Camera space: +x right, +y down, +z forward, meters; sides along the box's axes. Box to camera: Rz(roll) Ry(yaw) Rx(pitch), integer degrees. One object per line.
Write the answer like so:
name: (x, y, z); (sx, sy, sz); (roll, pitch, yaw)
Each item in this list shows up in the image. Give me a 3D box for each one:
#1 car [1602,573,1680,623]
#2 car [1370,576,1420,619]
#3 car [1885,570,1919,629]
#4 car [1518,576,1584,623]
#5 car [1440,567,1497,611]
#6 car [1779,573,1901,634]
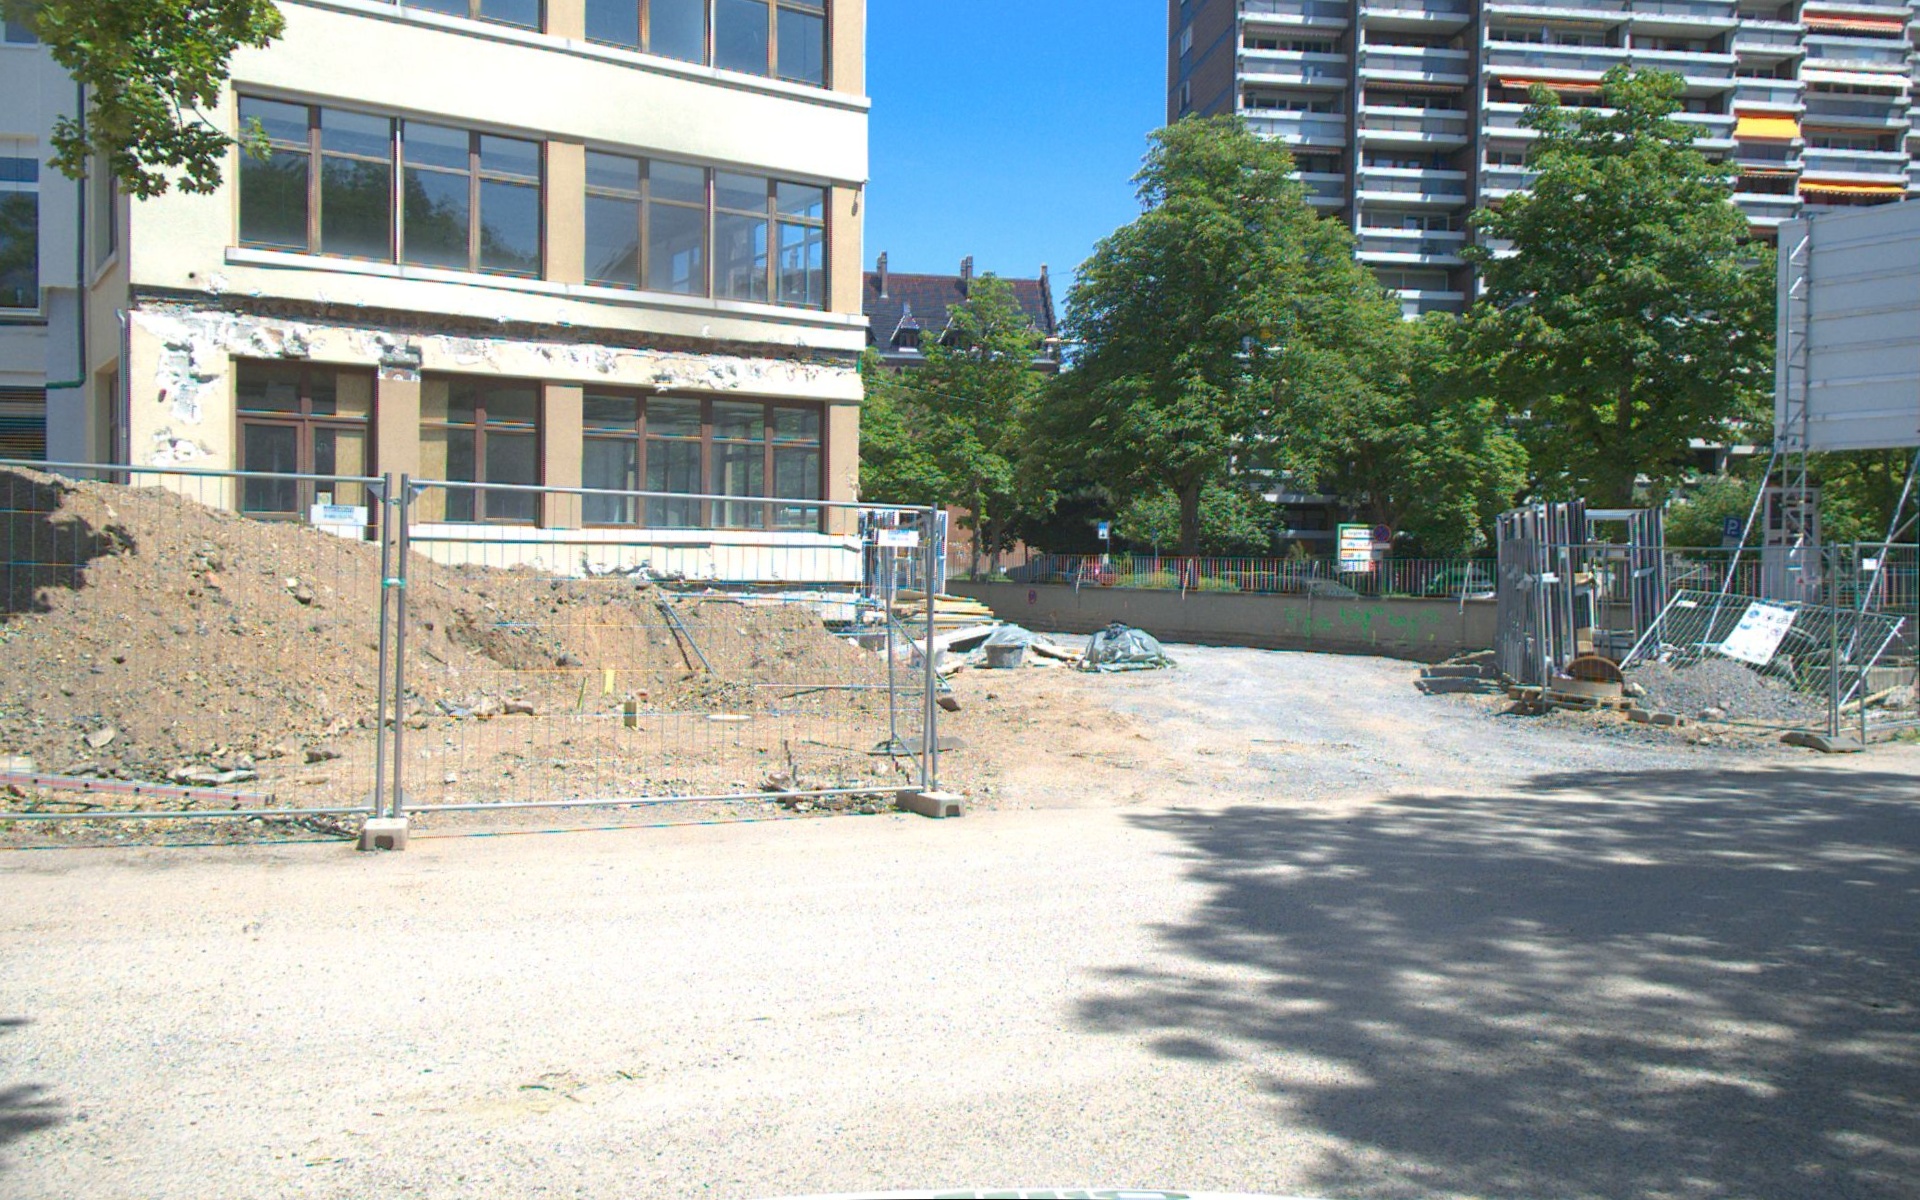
car: (20.504, -0.089, 49.904); (1.598, 1.411, 3.681); (1, 1, 14)
car: (15.023, -0.109, 57.203); (1.598, 1.411, 3.681); (1, 1, 14)
car: (25.021, 0.000, 41.825); (1.598, 1.489, 3.681); (1, 1, 8)
car: (18.849, -0.038, 52.842); (1.598, 1.411, 3.681); (1, 1, 14)
car: (17.108, -0.392, 55.713); (1.598, 1.411, 3.681); (1, 1, 14)
car: (22.656, 0.061, 42.700); (1.598, 1.489, 3.681); (1, 1, 8)
